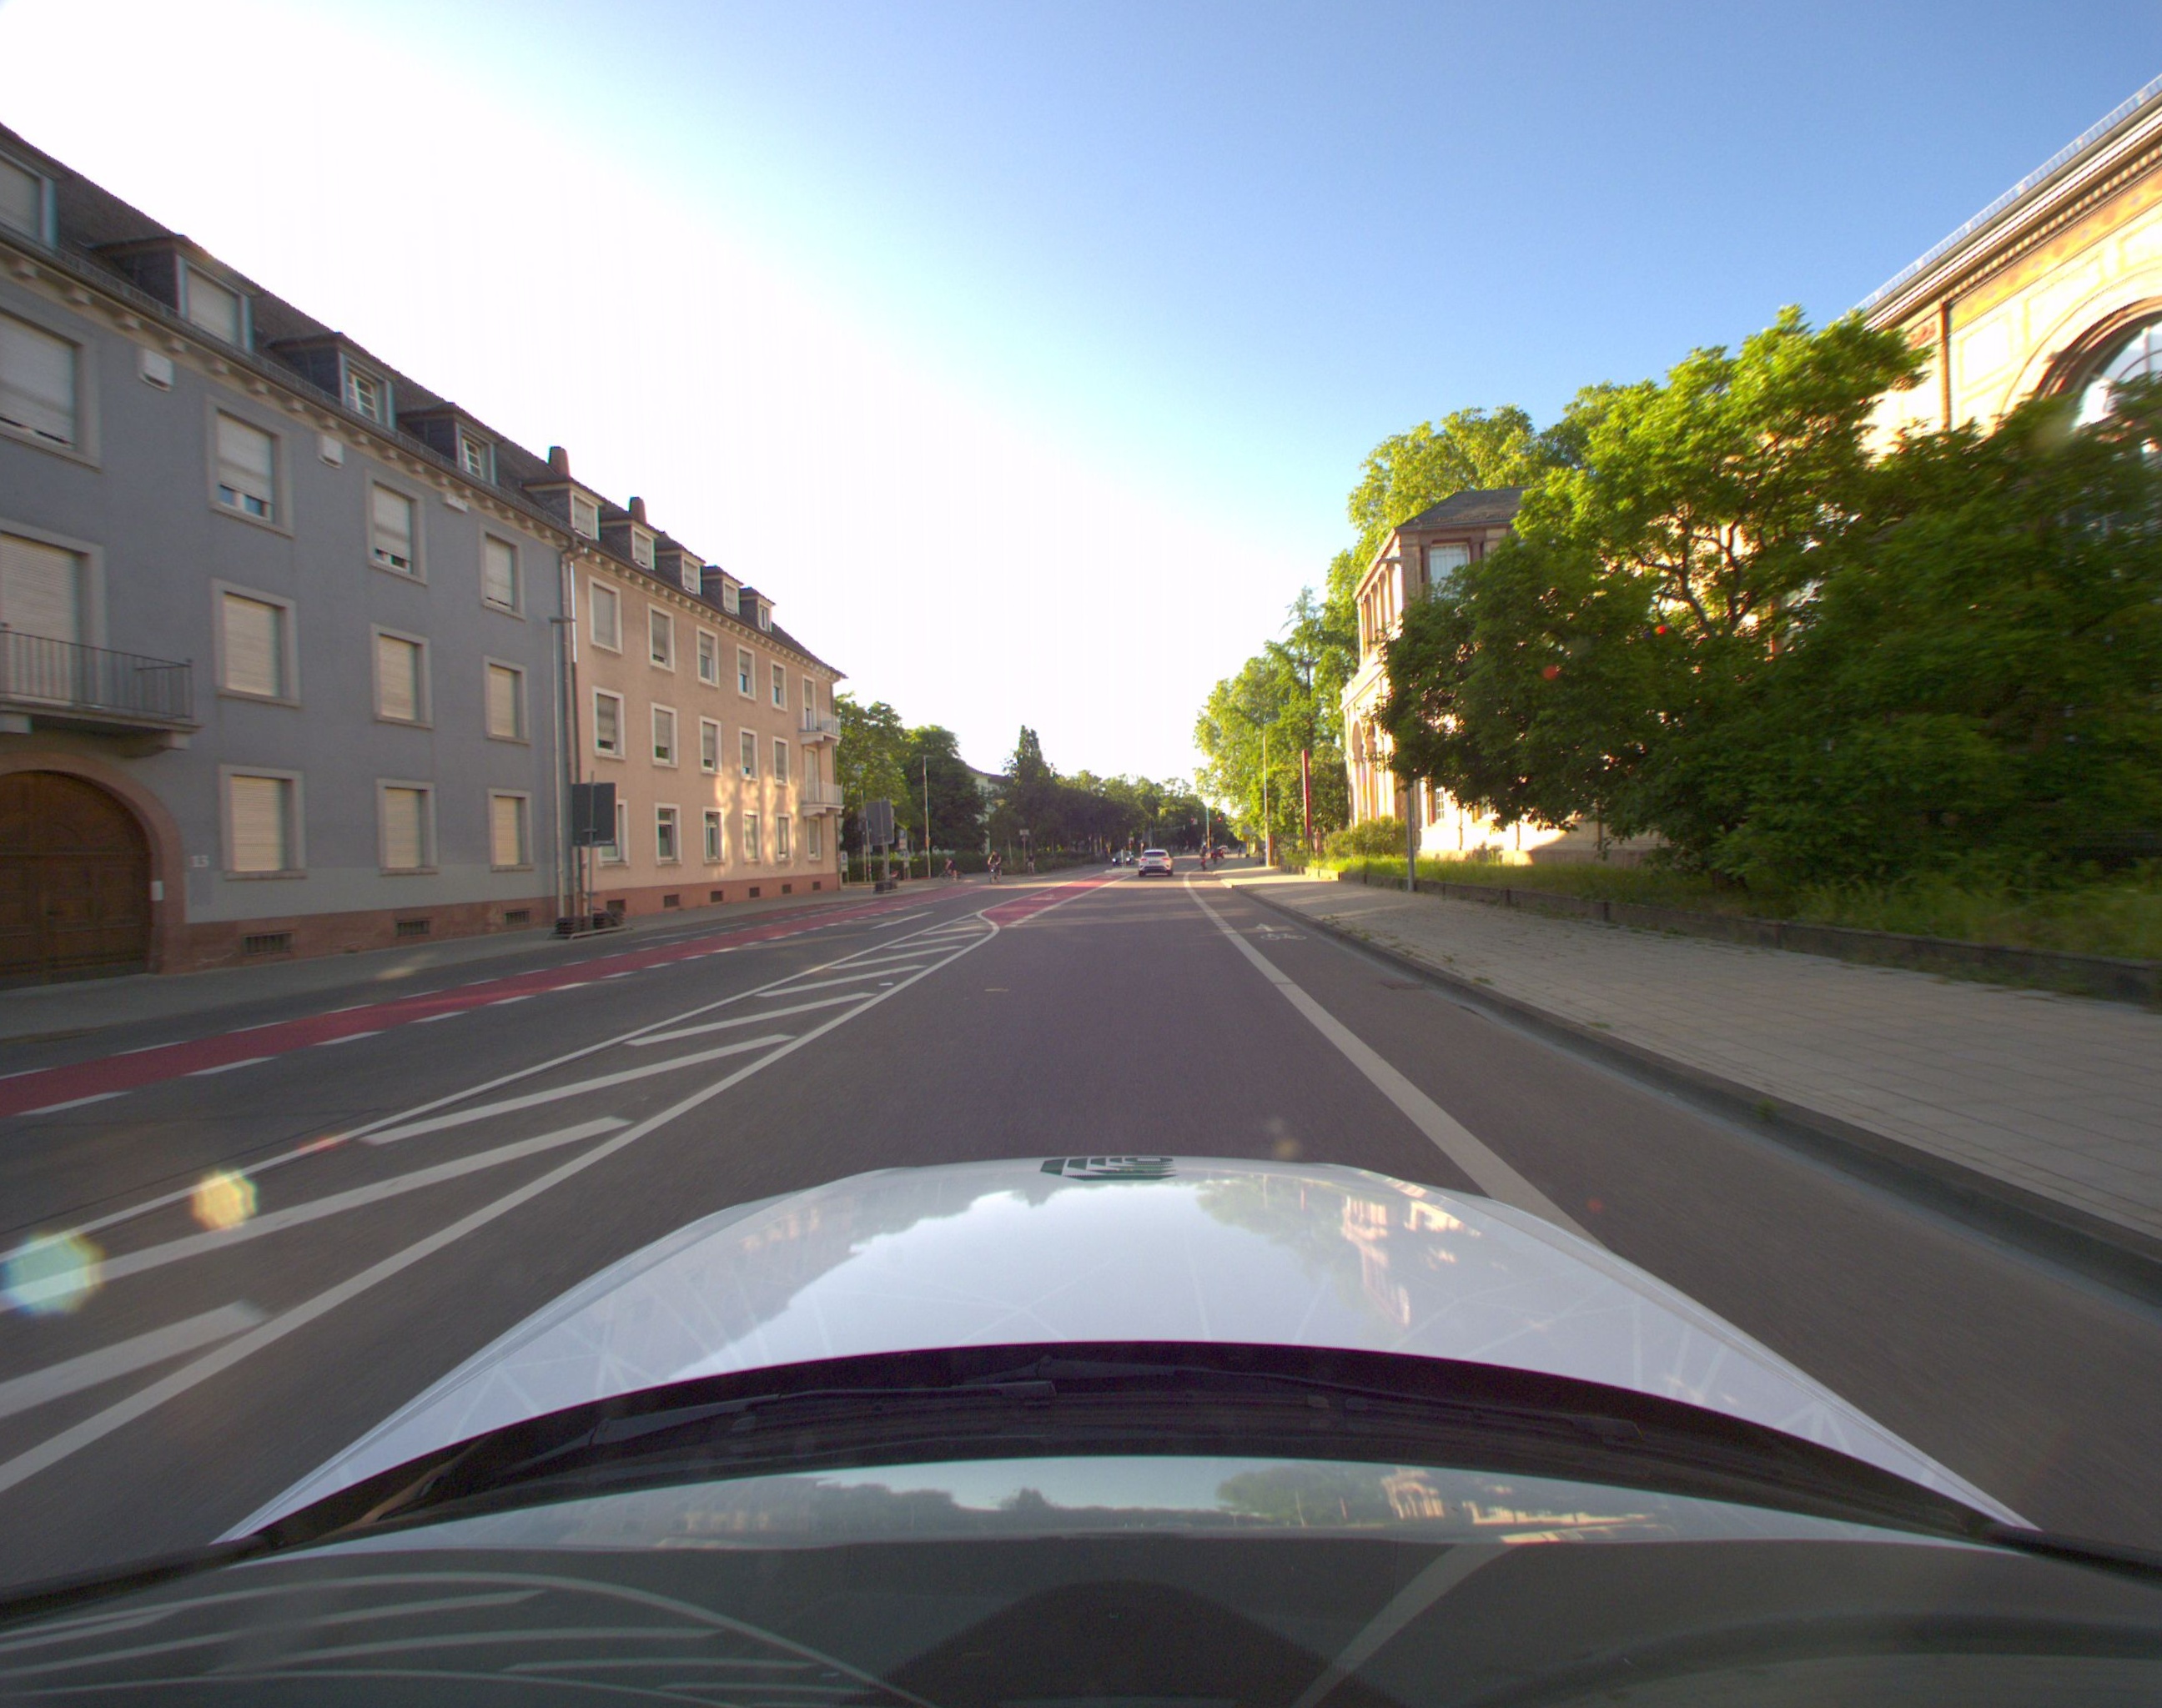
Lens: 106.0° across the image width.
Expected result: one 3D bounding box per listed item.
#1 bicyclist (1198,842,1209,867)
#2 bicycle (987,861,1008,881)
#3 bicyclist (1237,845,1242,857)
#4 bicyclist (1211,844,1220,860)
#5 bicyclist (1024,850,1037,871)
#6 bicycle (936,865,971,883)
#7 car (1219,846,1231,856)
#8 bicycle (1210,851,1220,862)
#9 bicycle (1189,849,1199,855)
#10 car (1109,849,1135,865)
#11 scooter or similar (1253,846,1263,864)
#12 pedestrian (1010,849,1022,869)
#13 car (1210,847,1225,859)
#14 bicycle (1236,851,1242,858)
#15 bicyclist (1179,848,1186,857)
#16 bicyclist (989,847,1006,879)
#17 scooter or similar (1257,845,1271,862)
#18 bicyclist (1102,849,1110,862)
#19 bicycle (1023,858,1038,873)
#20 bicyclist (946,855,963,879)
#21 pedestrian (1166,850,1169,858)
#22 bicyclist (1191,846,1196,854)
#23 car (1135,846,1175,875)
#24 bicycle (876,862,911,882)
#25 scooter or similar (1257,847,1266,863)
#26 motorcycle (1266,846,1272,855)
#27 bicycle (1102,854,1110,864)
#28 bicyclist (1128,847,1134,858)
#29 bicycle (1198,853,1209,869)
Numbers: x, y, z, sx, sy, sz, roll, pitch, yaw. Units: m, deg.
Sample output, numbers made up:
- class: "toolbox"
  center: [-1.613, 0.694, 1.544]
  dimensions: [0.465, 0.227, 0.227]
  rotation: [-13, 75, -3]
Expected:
- class: "bicyclist"
  center: [8.188, 0.019, 54.432]
  dimensions: [0.632, 1.614, 1.288]
  rotation: [-1, 0, 11]
- class: "bicycle"
  center: [-4.554, 0.905, 44.710]
  dimensions: [0.643, 0.995, 2.113]
  rotation: [-4, 0, 7]
- class: "bicyclist"
  center: [22.482, -0.447, 115.548]
  dimensions: [0.744, 1.750, 0.846]
  rotation: [-1, 0, 12]
- class: "bicyclist"
  center: [12.629, -0.200, 76.703]
  dimensions: [0.742, 1.537, 0.973]
  rotation: [-2, 0, 12]
- class: "bicyclist"
  center: [-3.660, 0.447, 59.025]
  dimensions: [0.652, 1.485, 0.666]
  rotation: [-5, 0, 6]
- class: "bicycle"
  center: [-8.097, 1.280, 51.831]
  dimensions: [2.121, 0.995, 0.731]
  rotation: [-5, 1, -41]
- class: "car"
  center: [25.730, -0.575, 145.210]
  dimensions: [1.724, 1.546, 4.016]
  rotation: [-3, 0, 14]
- class: "bicycle"
  center: [12.632, 0.206, 76.666]
  dimensions: [0.748, 1.026, 1.876]
  rotation: [-1, 0, 12]
- class: "bicycle"
  center: [20.960, -0.371, 151.419]
  dimensions: [1.751, 0.990, 0.515]
  rotation: [-3, 0, 19]
- class: "car"
  center: [4.163, 0.306, 81.621]
  dimensions: [1.799, 1.419, 4.570]
  rotation: [-3, 0, 12]
- class: "scooter or similar"
  center: [12.915, 0.066, 59.390]
  dimensions: [0.296, 1.240, 1.159]
  rotation: [-3, 0, -4]
- class: "pedestrian"
  center: [-6.327, 0.507, 79.513]
  dimensions: [0.850, 1.851, 1.004]
  rotation: [-3, 0, 11]
- class: "car"
  center: [19.240, -0.200, 114.663]
  dimensions: [1.916, 1.533, 4.014]
  rotation: [-3, 0, 12]
- class: "bicycle"
  center: [22.462, 0.095, 115.435]
  dimensions: [0.748, 1.026, 1.876]
  rotation: [-1, 0, 12]
- class: "bicyclist"
  center: [20.226, -0.288, 162.011]
  dimensions: [1.084, 1.754, 1.102]
  rotation: [-3, 0, 14]
- class: "bicyclist"
  center: [-4.596, 0.474, 44.642]
  dimensions: [0.632, 1.710, 0.740]
  rotation: [-5, 0, 6]
- class: "scooter or similar"
  center: [13.993, -0.019, 62.402]
  dimensions: [0.547, 1.243, 1.555]
  rotation: [-3, 0, -5]
- class: "bicyclist"
  center: [3.051, 0.166, 99.303]
  dimensions: [0.625, 1.522, 0.726]
  rotation: [-5, 0, 10]
- class: "bicycle"
  center: [-3.619, 0.839, 59.049]
  dimensions: [0.648, 0.995, 2.113]
  rotation: [-4, 0, 7]
- class: "bicyclist"
  center: [-8.045, 0.839, 51.888]
  dimensions: [0.669, 1.485, 0.731]
  rotation: [-4, 0, -41]
- class: "pedestrian"
  center: [20.164, -0.034, 189.751]
  dimensions: [0.646, 1.888, 0.665]
  rotation: [-3, 0, 15]
- class: "bicyclist"
  center: [20.906, -0.731, 151.432]
  dimensions: [0.914, 1.508, 0.509]
  rotation: [-3, 0, 19]
- class: "car"
  center: [4.203, 0.334, 45.854]
  dimensions: [1.982, 1.453, 4.009]
  rotation: [-3, 0, 8]
- class: "bicycle"
  center: [-12.882, 1.222, 55.937]
  dimensions: [2.305, 1.230, 0.562]
  rotation: [-3, 0, 11]
- class: "scooter or similar"
  center: [13.436, 0.063, 60.563]
  dimensions: [0.478, 1.122, 1.339]
  rotation: [-3, 0, 8]
- class: "motorcycle"
  center: [24.756, -0.508, 107.346]
  dimensions: [0.657, 1.167, 2.335]
  rotation: [-5, 0, 13]
- class: "bicycle"
  center: [3.094, 0.578, 99.313]
  dimensions: [0.593, 1.120, 2.033]
  rotation: [-6, 0, 10]
- class: "bicyclist"
  center: [6.824, -0.182, 111.421]
  dimensions: [0.642, 1.418, 0.973]
  rotation: [-5, 0, 10]
- class: "bicycle"
  center: [8.194, 0.486, 54.416]
  dimensions: [0.639, 1.024, 2.219]
  rotation: [-1, 0, 11]
